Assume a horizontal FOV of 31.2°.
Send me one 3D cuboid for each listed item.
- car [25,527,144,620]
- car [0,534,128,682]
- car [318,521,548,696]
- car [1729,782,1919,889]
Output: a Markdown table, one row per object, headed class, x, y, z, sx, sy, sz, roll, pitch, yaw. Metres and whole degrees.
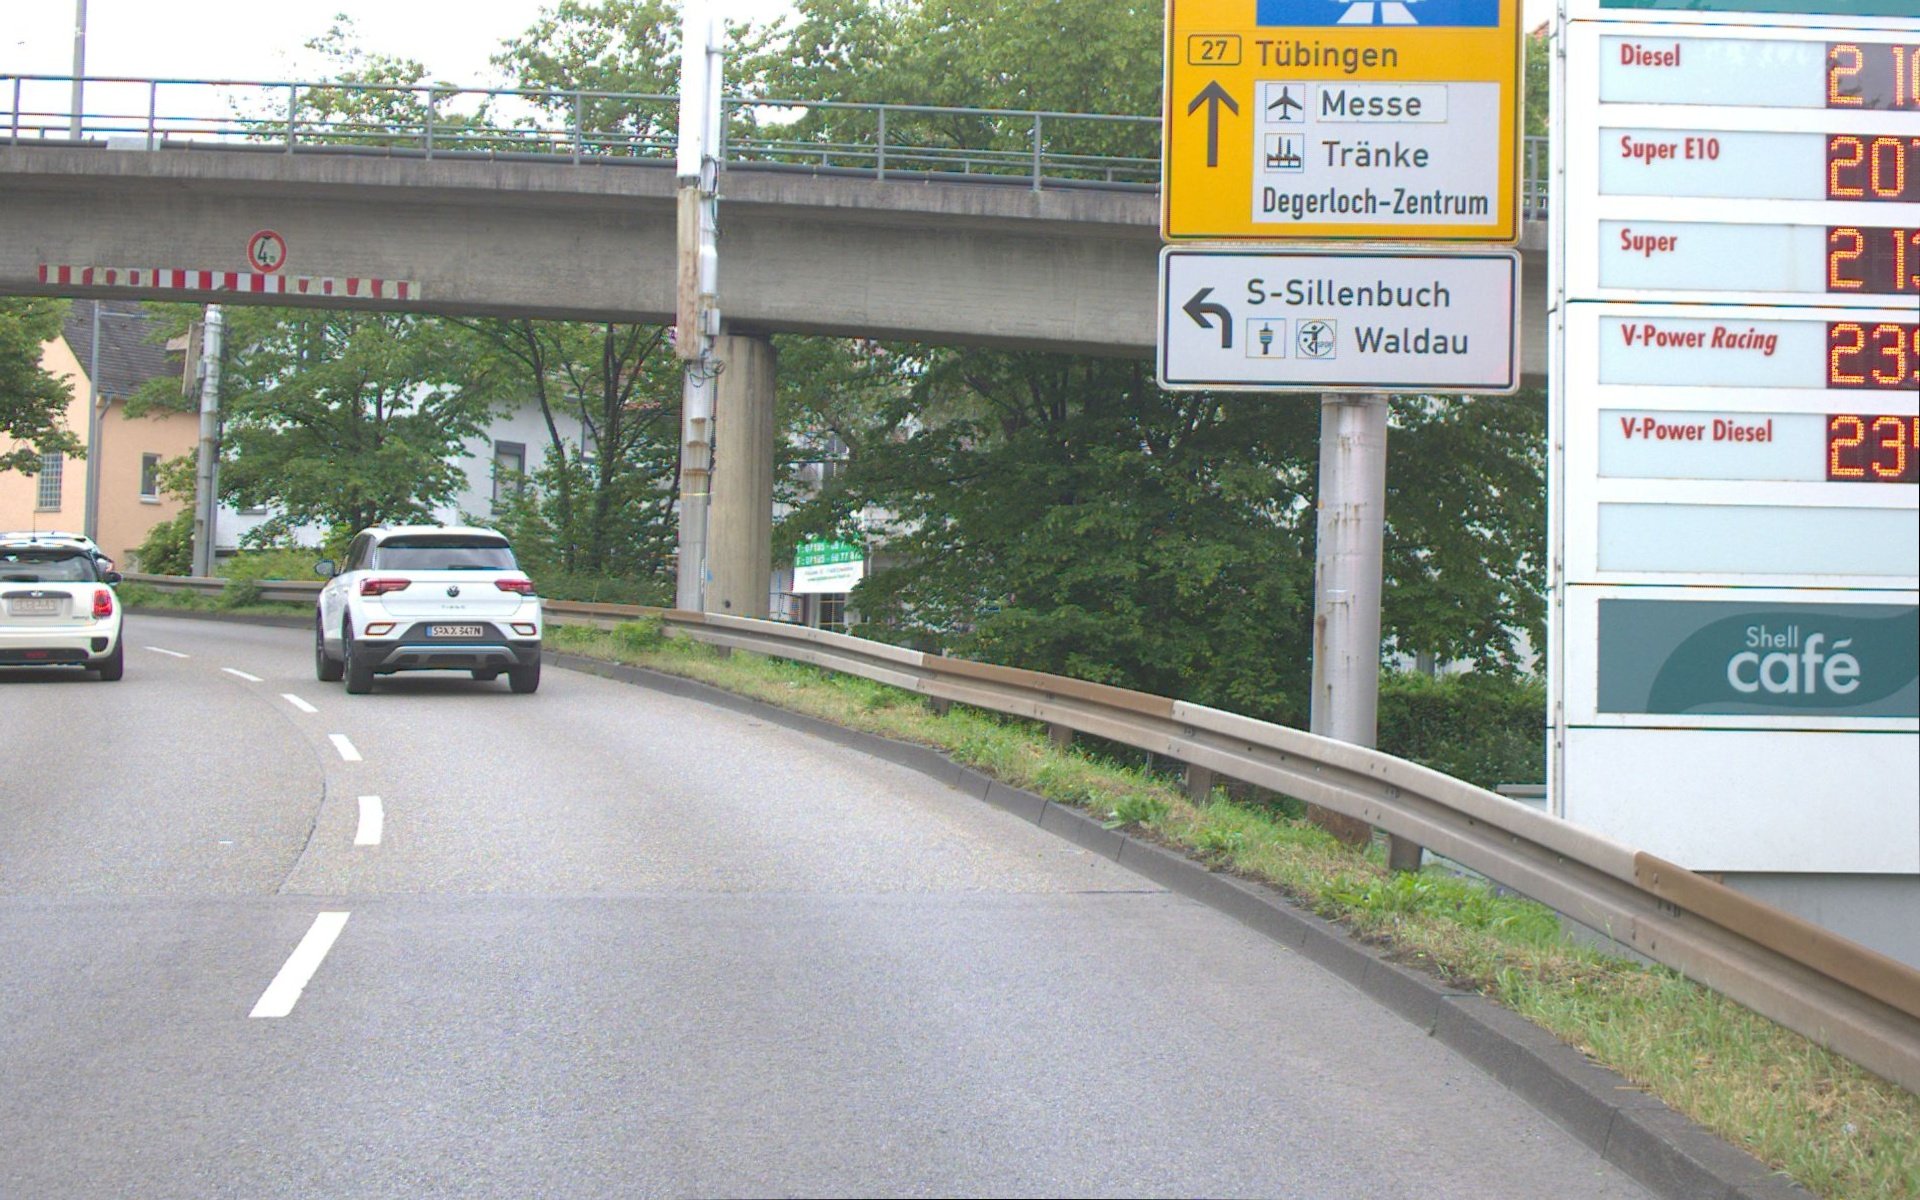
| class | x | y | z | sx | sy | sz | roll | pitch | yaw |
| --- | --- | --- | --- | --- | --- | --- | --- | --- | --- |
| car | -14.341 | -0.458 | 56.224 | 1.675 | 1.404 | 3.458 | 1 | 1 | -17 |
| car | -9.508 | 0.043 | 34.824 | 1.722 | 1.371 | 3.458 | 1 | 1 | -20 |
| car | -5.048 | 0.041 | 32.606 | 1.796 | 1.513 | 3.458 | 1 | 1 | -14 |
| car | 14.432 | 3.780 | 54.937 | 3.765 | 1.390 | 1.647 | 4 | -1 | 35 |
